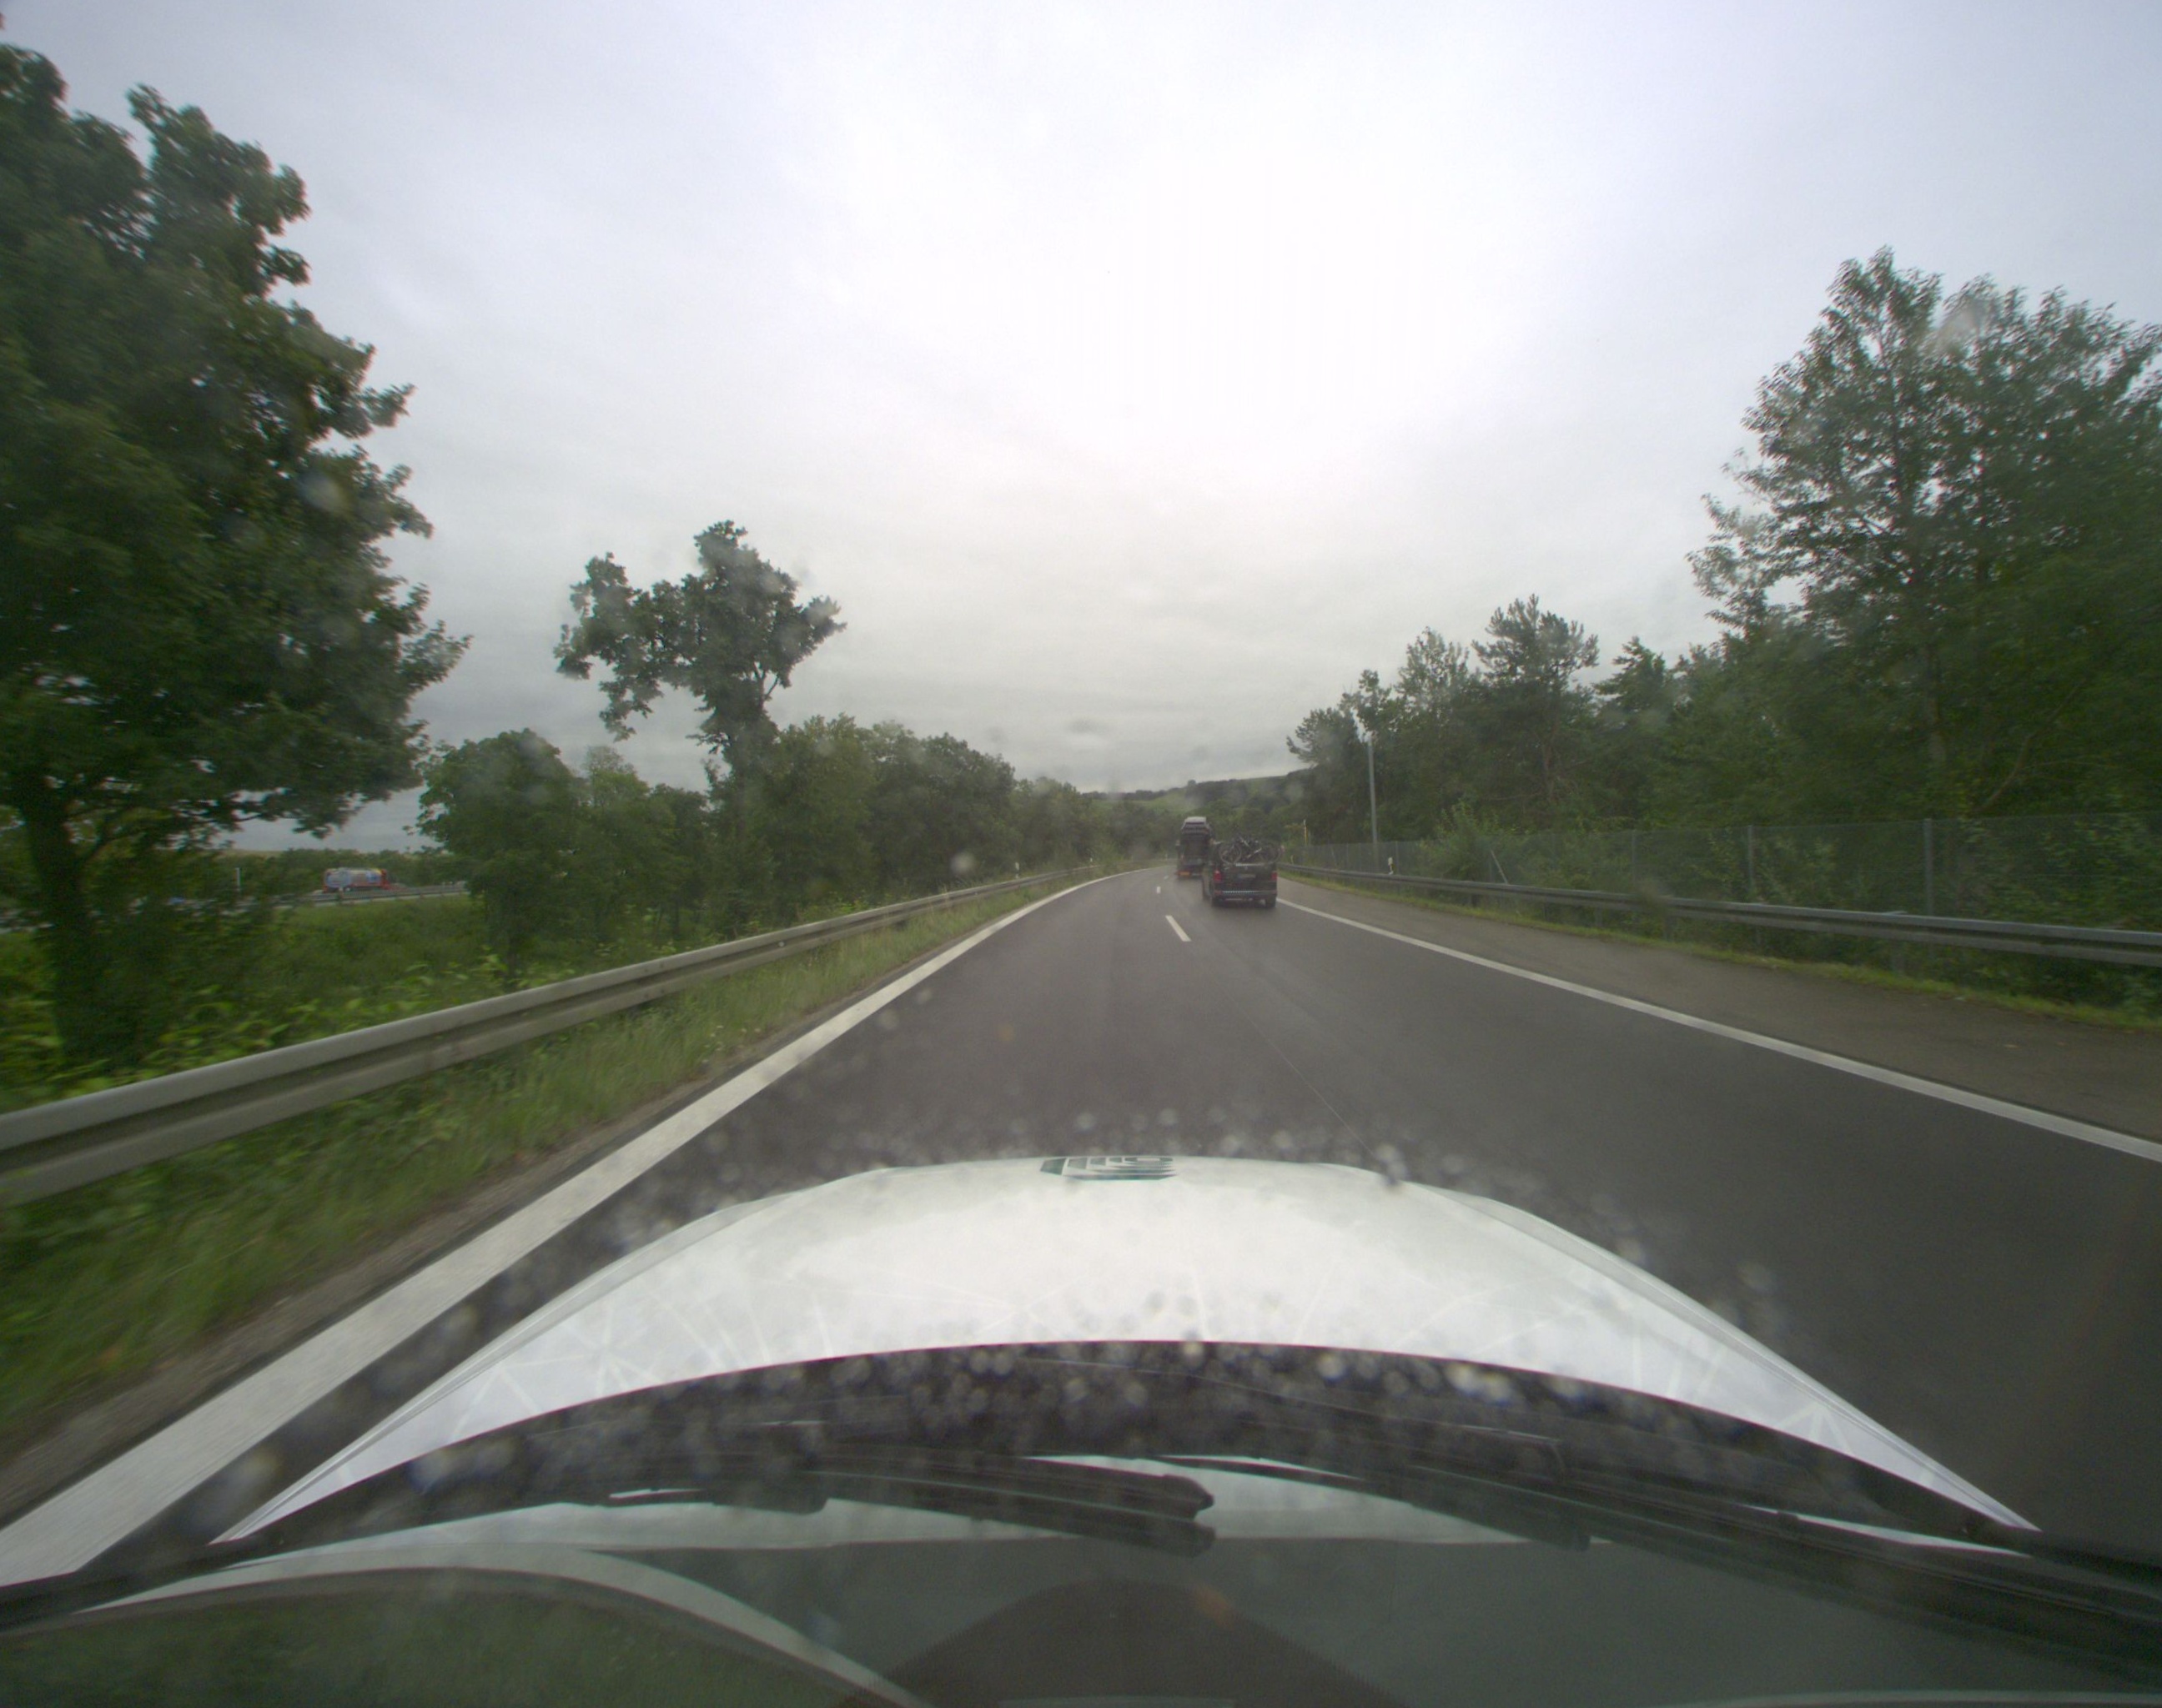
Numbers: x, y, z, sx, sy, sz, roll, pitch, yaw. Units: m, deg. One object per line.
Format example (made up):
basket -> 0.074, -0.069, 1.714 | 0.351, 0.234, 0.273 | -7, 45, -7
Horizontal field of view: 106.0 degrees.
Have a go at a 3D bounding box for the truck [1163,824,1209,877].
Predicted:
truck -> 8.366, -0.256, 66.268 | 3.378, 3.999, 10.863 | 0, 0, 6

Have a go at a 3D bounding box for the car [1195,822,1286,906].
car -> 4.744, 0.270, 25.016 | 2.100, 2.264, 5.904 | 0, 0, 5

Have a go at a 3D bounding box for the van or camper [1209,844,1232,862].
van or camper -> 17.927, -0.159, 104.469 | 2.075, 2.231, 4.453 | 0, 0, 20

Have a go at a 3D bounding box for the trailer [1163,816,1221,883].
trailer -> 7.251, -0.264, 54.880 | 3.432, 3.999, 12.045 | 0, 0, 6

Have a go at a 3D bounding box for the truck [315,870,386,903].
truck -> -81.463, 3.578, 91.029 | 2.867, 3.365, 8.572 | -2, 0, -20
